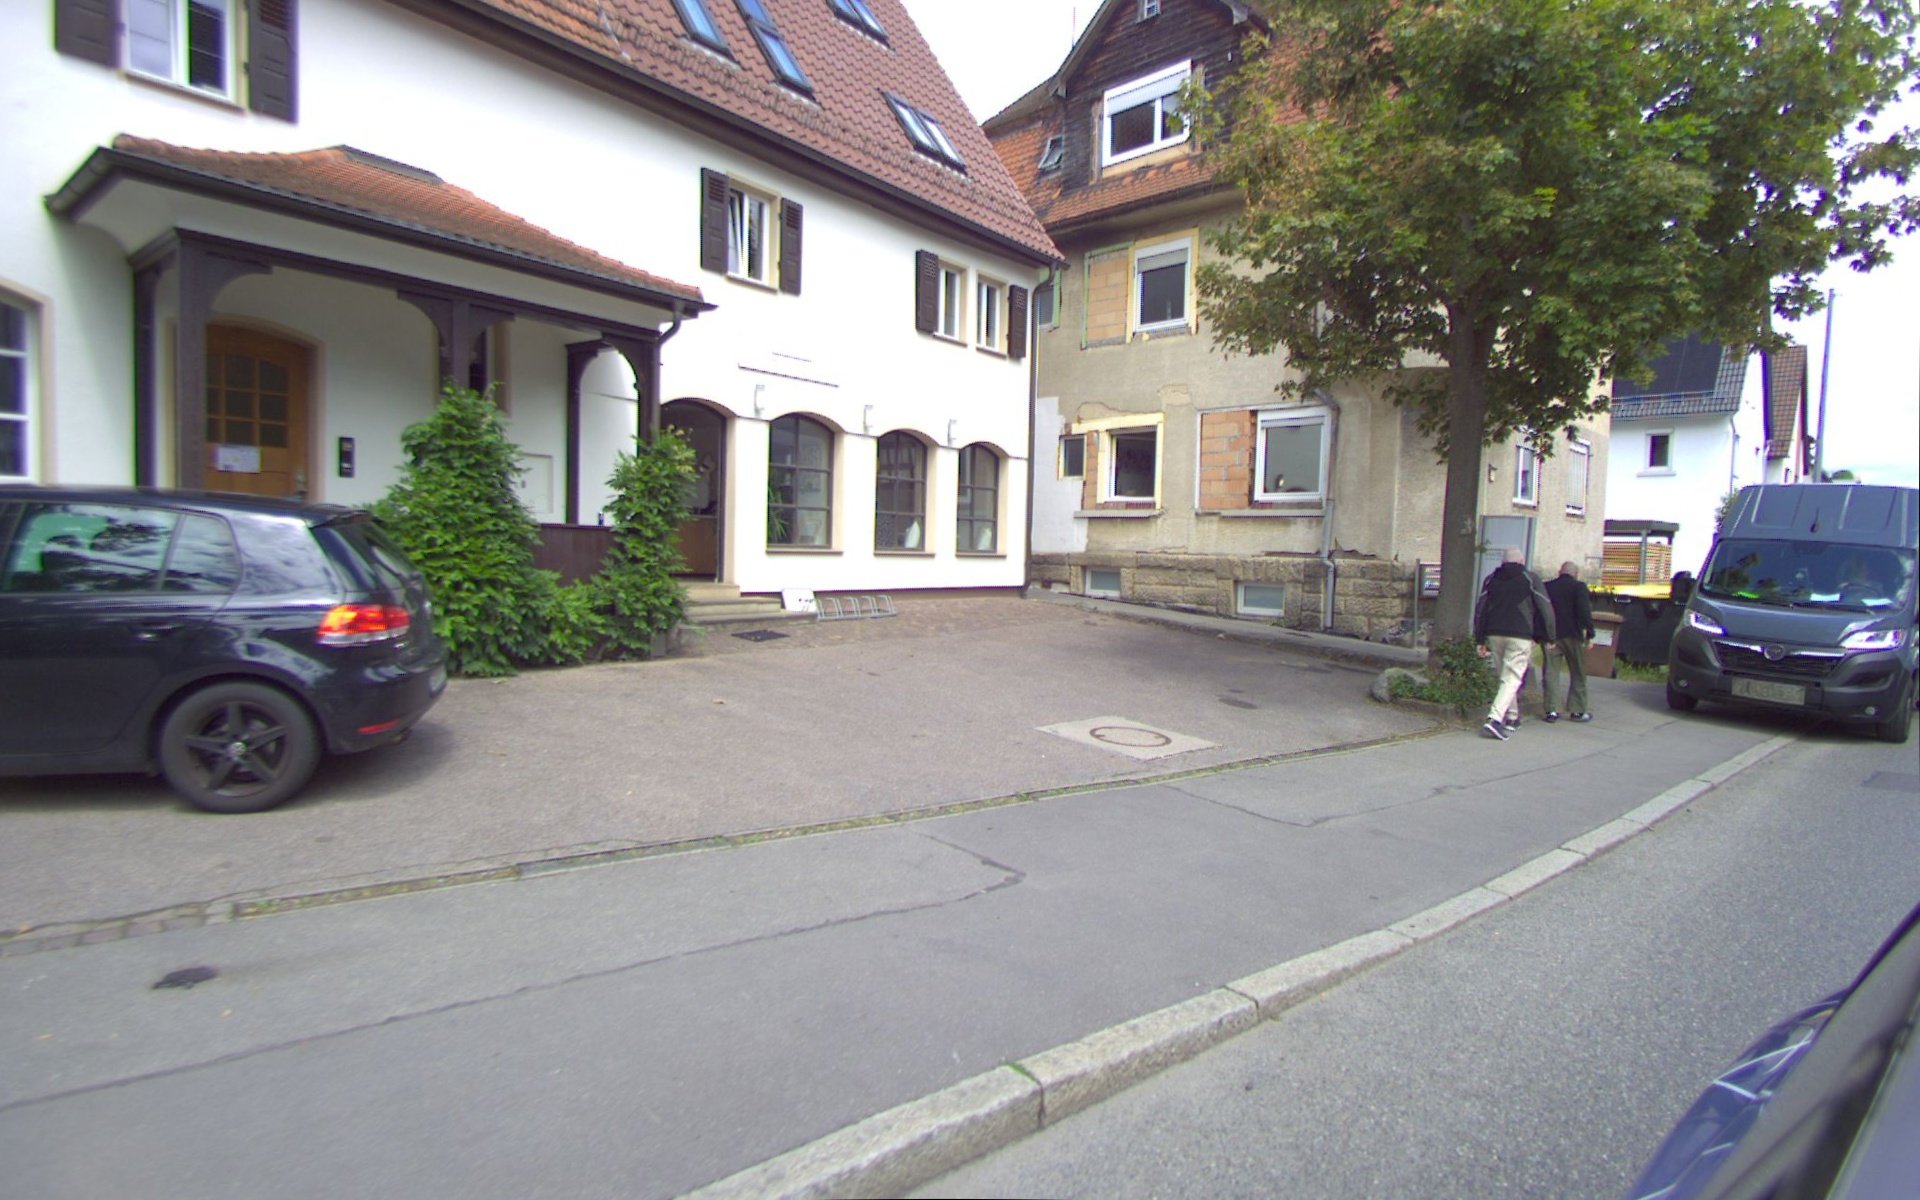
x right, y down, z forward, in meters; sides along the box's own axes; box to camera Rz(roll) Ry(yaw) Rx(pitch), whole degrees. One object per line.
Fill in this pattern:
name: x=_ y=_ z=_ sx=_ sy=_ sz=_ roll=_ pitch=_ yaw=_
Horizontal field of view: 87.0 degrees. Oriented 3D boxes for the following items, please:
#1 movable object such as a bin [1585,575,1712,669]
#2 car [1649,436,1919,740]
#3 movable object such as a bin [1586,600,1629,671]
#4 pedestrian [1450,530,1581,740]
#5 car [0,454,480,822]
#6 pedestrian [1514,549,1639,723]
movable object such as a bin: x=10.173 y=0.294 z=15.028 sx=1.169 sy=1.281 sz=1.204 roll=2 pitch=2 yaw=16
car: x=10.483 y=-0.187 z=12.162 sx=6.142 sy=2.804 sz=2.152 roll=-1 pitch=3 yaw=-42
movable object such as a bin: x=9.264 y=0.500 z=14.479 sx=0.408 sy=0.949 sz=0.270 roll=8 pitch=6 yaw=36
pedestrian: x=5.083 y=0.281 z=9.256 sx=0.884 sy=1.804 sz=0.741 roll=0 pitch=3 yaw=-42
car: x=-4.690 y=0.071 z=4.963 sx=3.992 sy=1.534 sz=1.763 roll=3 pitch=5 yaw=-18
pedestrian: x=6.236 y=0.326 z=10.246 sx=0.783 sy=1.663 sz=0.787 roll=0 pitch=2 yaw=-37
